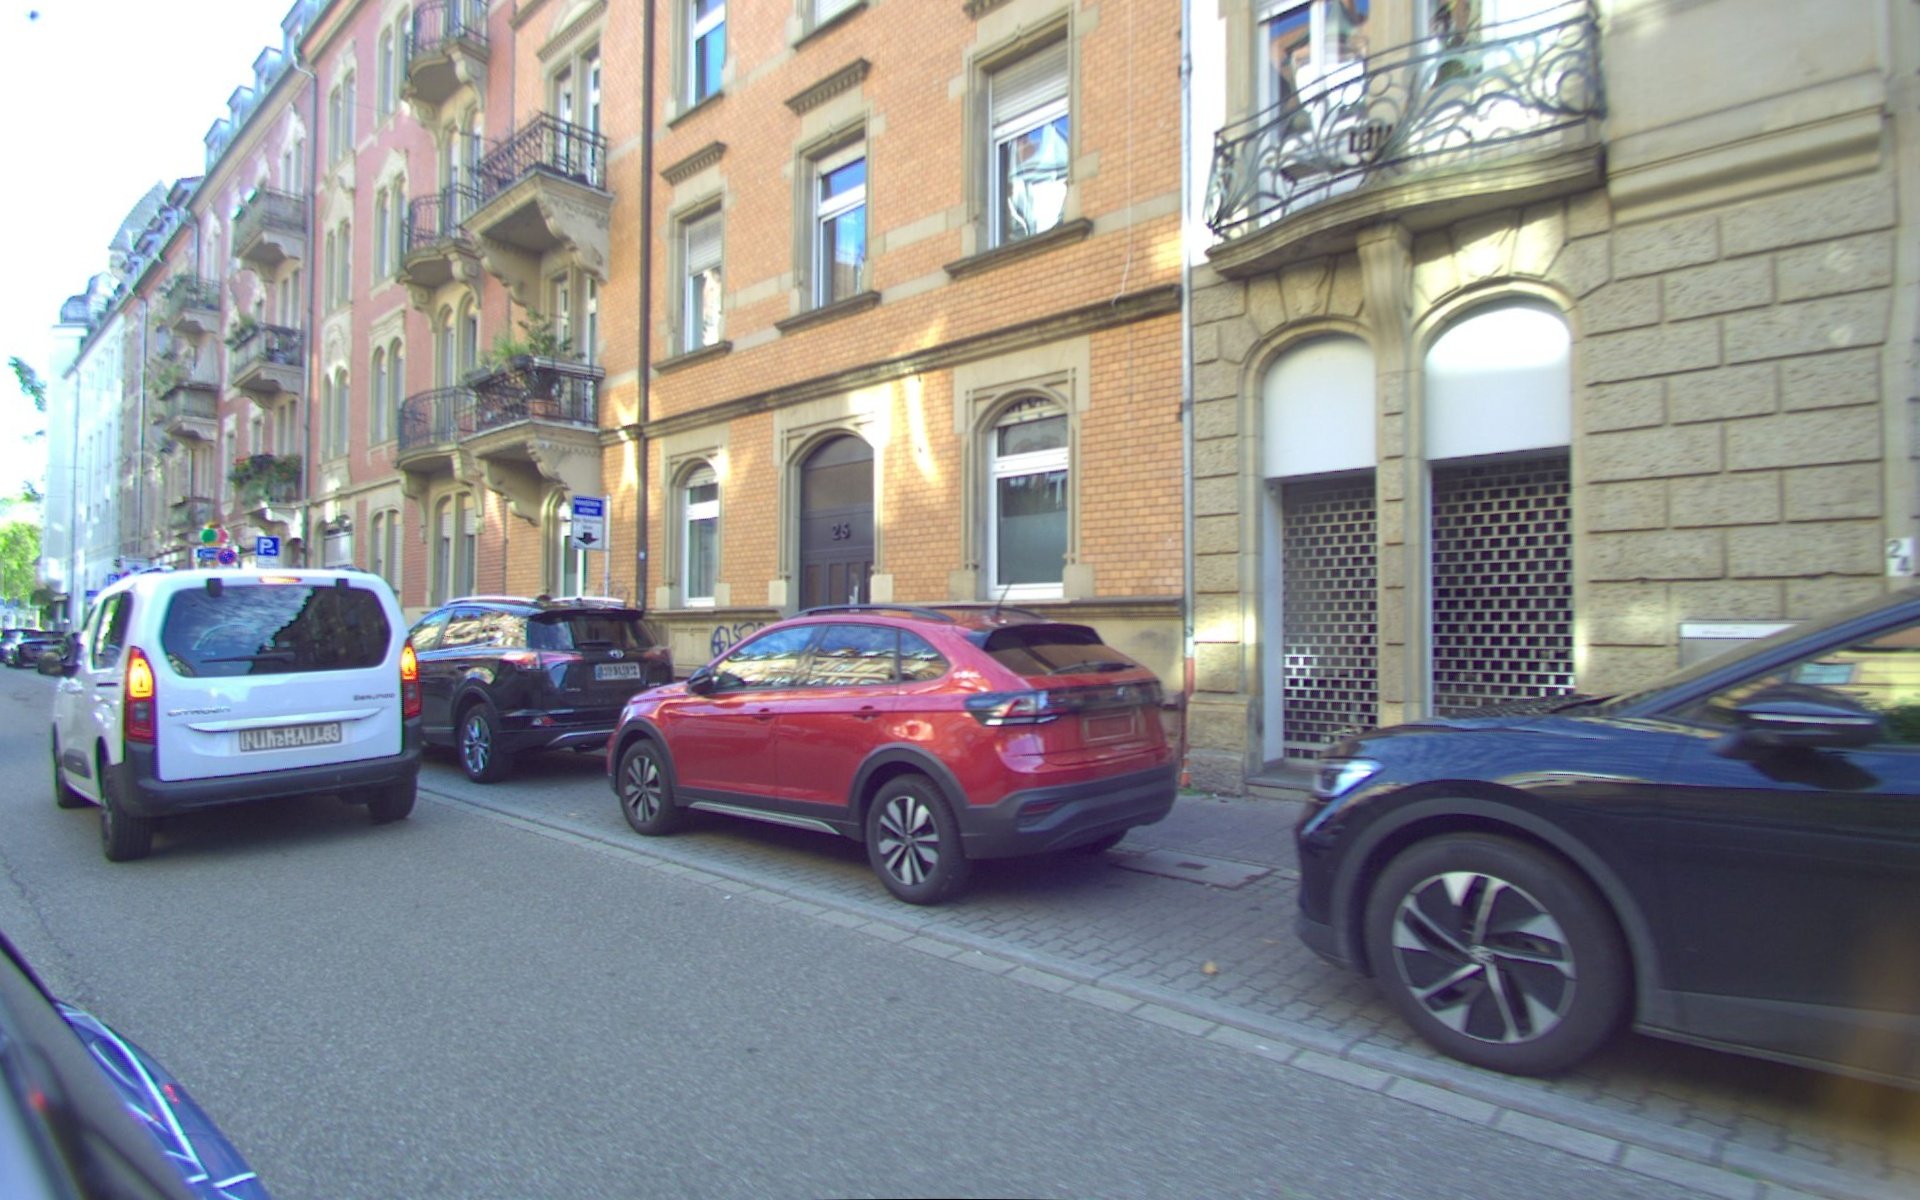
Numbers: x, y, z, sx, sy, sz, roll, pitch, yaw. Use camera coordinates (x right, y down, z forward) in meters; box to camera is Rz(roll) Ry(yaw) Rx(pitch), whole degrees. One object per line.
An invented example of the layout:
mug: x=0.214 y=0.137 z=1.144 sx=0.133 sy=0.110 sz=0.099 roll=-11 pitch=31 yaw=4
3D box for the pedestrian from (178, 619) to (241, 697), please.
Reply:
pedestrian: x=-16.692 y=1.266 z=22.518 sx=0.826 sy=1.674 sz=0.903 roll=-2 pitch=-1 yaw=34

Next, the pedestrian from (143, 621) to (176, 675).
pedestrian: x=-26.991 y=1.616 z=34.136 sx=0.678 sy=1.773 sz=0.668 roll=-1 pitch=-1 yaw=-18

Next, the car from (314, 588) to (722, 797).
car: x=-4.753 y=0.840 z=10.482 sx=4.889 sy=1.694 sz=1.854 roll=-3 pitch=-2 yaw=39

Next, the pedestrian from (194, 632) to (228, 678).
pedestrian: x=-21.818 y=1.599 z=29.476 sx=0.439 sy=1.323 sz=0.710 roll=-2 pitch=-2 yaw=38

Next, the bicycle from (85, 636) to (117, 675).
bicycle: x=-25.817 y=1.646 z=30.430 sx=0.570 sy=1.098 sz=1.742 roll=0 pitch=-1 yaw=-34

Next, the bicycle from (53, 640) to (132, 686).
bicycle: x=-24.425 y=1.747 z=28.542 sx=0.584 sy=1.209 sz=1.787 roll=-1 pitch=-1 yaw=6

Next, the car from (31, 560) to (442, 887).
car: x=-5.863 y=0.750 z=7.961 sx=4.440 sy=1.842 sz=1.896 roll=-2 pitch=-2 yaw=44

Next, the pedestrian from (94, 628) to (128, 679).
pedestrian: x=-31.670 y=1.985 z=37.761 sx=0.750 sy=1.832 sz=0.668 roll=-1 pitch=-1 yaw=-18

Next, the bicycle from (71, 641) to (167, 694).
bicycle: x=-20.541 y=1.629 z=24.787 sx=0.795 sy=1.168 sz=2.275 roll=-1 pitch=-1 yaw=-10

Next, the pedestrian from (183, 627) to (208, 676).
pedestrian: x=-23.440 y=1.561 z=31.038 sx=0.596 sy=1.481 sz=0.727 roll=0 pitch=-2 yaw=-37

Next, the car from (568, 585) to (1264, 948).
car: x=-0.538 y=0.783 z=6.590 sx=4.425 sy=1.556 sz=1.972 roll=-1 pitch=-3 yaw=42

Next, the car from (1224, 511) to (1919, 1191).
car: x=3.339 y=0.619 z=2.725 sx=4.847 sy=1.641 sz=1.771 roll=-1 pitch=-3 yaw=43

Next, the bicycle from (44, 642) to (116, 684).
bicycle: x=-25.020 y=1.778 z=28.801 sx=0.584 sy=1.129 sz=1.567 roll=-1 pitch=-1 yaw=6

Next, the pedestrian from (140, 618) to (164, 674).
pedestrian: x=-26.273 y=1.486 z=32.909 sx=0.596 sy=1.765 sz=0.727 roll=0 pitch=-2 yaw=-37

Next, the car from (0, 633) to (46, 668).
car: x=-41.468 y=2.171 z=44.246 sx=4.008 sy=1.426 sz=1.653 roll=-2 pitch=-2 yaw=39

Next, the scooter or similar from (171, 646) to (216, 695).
scooter or similar: x=-17.464 y=1.590 z=23.066 sx=0.921 sy=1.063 sz=0.600 roll=-2 pitch=-1 yaw=37

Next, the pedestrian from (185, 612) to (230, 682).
pedestrian: x=-20.636 y=1.278 z=27.765 sx=0.659 sy=1.868 sz=0.760 roll=-1 pitch=-1 yaw=12

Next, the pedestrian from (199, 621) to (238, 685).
pedestrian: x=-19.939 y=1.415 z=27.217 sx=0.640 sy=1.709 sz=0.563 roll=-1 pitch=-1 yaw=12

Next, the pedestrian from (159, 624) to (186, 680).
pedestrian: x=-23.498 y=1.539 z=30.199 sx=0.584 sy=1.629 sz=0.547 roll=-2 pitch=-2 yaw=43

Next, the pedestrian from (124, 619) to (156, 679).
pedestrian: x=-26.413 y=1.559 z=32.613 sx=0.637 sy=1.906 sz=0.603 roll=-1 pitch=-1 yaw=-18

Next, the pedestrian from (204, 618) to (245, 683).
pedestrian: x=-19.467 y=1.328 z=26.801 sx=0.580 sy=1.709 sz=0.663 roll=-1 pitch=-1 yaw=12

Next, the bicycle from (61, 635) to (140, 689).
bicycle: x=-22.223 y=1.583 z=26.206 sx=0.521 sy=1.332 sz=1.674 roll=-1 pitch=-1 yaw=6

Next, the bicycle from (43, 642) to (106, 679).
bicycle: x=-28.126 y=1.910 z=32.151 sx=1.556 sy=1.125 sz=0.375 roll=-1 pitch=-1 yaw=-8

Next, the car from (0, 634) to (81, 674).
car: x=-34.221 y=1.966 z=37.559 sx=5.113 sy=1.361 sz=1.793 roll=-2 pitch=-2 yaw=42

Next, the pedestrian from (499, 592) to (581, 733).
pedestrian: x=-5.653 y=0.812 z=13.607 sx=0.747 sy=1.822 sz=0.864 roll=0 pitch=-2 yaw=-44

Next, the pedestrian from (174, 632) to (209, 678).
pedestrian: x=-22.861 y=1.624 z=30.109 sx=0.606 sy=1.323 sz=0.716 roll=-2 pitch=-2 yaw=39

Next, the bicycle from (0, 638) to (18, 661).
bicycle: x=-50.748 y=2.614 z=53.121 sx=0.688 sy=1.184 sz=1.847 roll=-2 pitch=-2 yaw=44

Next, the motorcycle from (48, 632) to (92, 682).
motorcycle: x=-26.433 y=1.670 z=30.078 sx=0.697 sy=1.395 sz=2.029 roll=0 pitch=-1 yaw=-33

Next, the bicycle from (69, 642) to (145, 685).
bicycle: x=-23.839 y=1.752 z=28.312 sx=0.548 sy=1.129 sz=1.735 roll=-1 pitch=-1 yaw=6
